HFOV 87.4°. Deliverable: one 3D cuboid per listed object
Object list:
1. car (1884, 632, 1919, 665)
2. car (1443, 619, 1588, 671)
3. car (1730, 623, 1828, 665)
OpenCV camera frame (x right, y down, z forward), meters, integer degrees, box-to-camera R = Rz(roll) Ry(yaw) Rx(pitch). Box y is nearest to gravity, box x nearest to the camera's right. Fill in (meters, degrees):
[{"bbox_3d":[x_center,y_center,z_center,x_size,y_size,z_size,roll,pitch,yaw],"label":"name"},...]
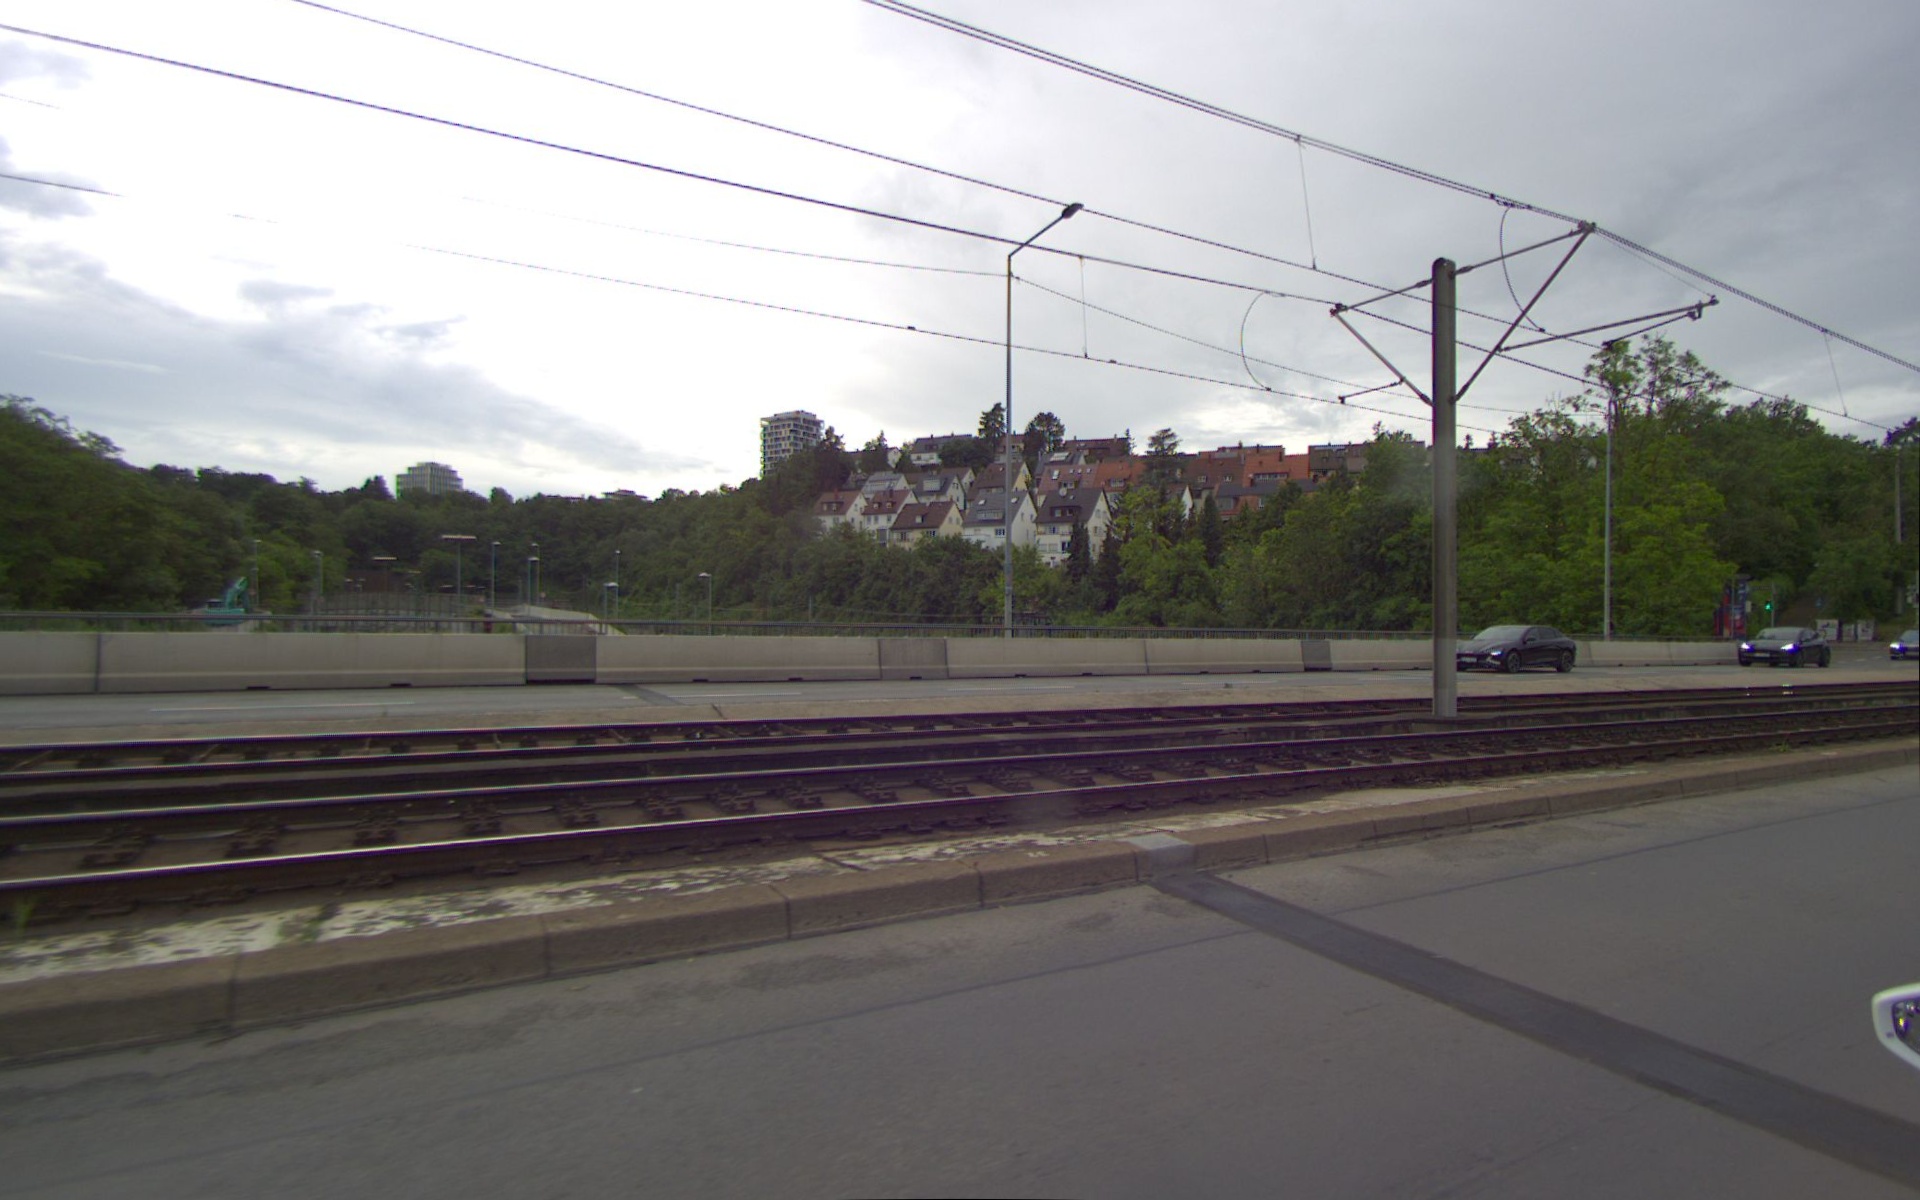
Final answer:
[{"bbox_3d":[49.437,2.513,51.613,5.136,1.618,1.955,3,-2,-37],"label":"car"},{"bbox_3d":[17.307,1.371,31.235,4.684,1.455,1.808,1,0,-30],"label":"car"},{"bbox_3d":[33.384,1.753,40.898,4.684,1.618,1.884,1,-1,-35],"label":"car"}]
